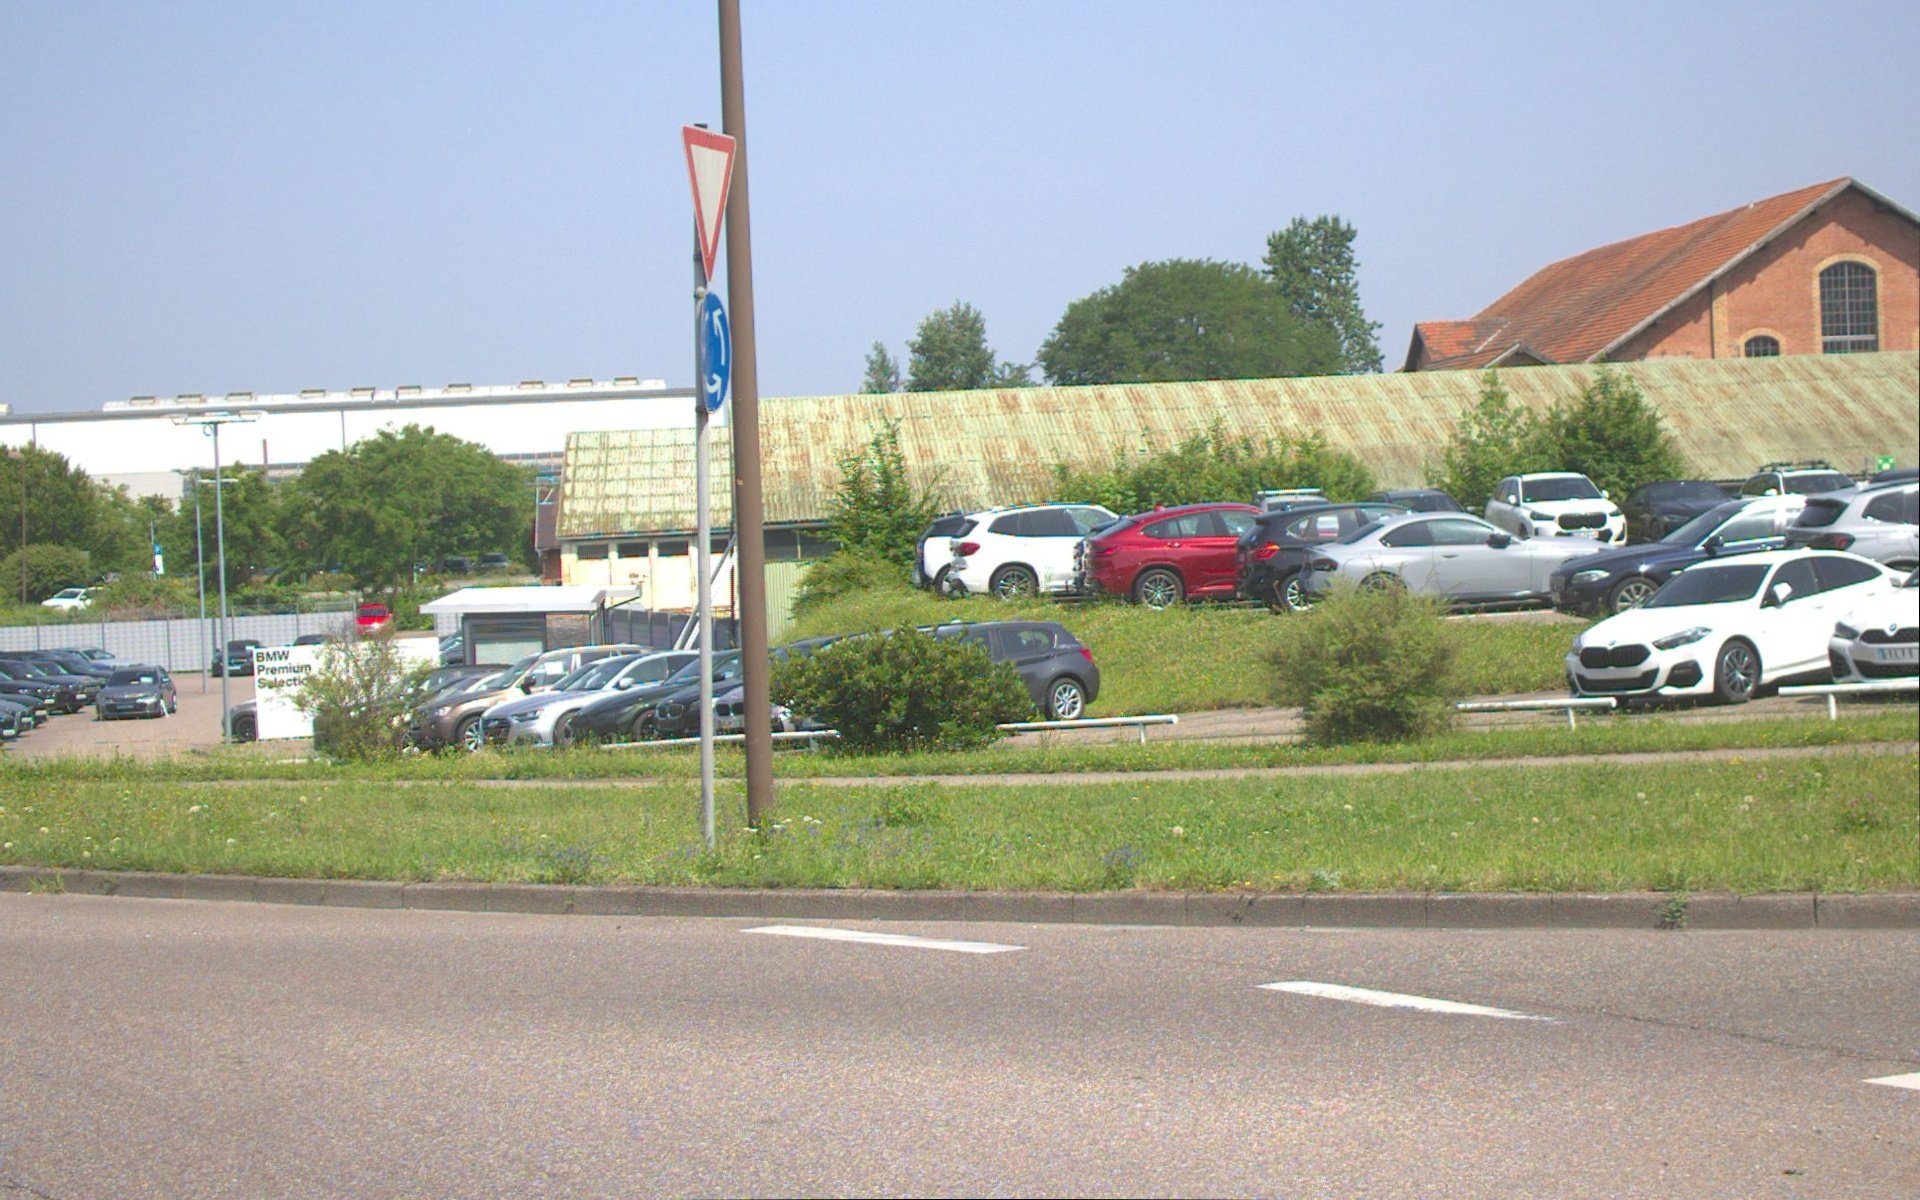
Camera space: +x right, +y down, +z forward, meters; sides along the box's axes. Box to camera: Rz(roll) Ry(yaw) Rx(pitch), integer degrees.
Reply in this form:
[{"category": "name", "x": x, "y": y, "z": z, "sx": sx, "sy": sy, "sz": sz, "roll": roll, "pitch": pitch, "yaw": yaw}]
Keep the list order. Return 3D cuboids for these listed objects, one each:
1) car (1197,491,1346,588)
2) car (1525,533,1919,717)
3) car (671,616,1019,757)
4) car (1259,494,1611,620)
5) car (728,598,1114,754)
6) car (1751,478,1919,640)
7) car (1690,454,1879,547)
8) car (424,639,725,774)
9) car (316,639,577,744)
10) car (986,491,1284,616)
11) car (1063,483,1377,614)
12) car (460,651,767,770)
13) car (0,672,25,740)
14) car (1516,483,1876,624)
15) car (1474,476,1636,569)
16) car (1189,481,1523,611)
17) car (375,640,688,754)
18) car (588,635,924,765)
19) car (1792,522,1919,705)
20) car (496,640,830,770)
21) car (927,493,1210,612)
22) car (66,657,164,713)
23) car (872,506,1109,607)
[{"category": "car", "x": 5.563, "y": -1.083, "z": 61.924, "sx": 1.916, "sy": 1.590, "sz": 4.305, "roll": -3, "pitch": 1, "yaw": -4}, {"category": "car", "x": 8.040, "y": 0.232, "z": 35.338, "sx": 4.565, "sy": 1.565, "sz": 1.767, "roll": -4, "pitch": 1, "yaw": -40}, {"category": "car", "x": -1.547, "y": 1.170, "z": 46.836, "sx": 4.249, "sy": 1.477, "sz": 1.922, "roll": -5, "pitch": -1, "yaw": -34}, {"category": "car", "x": 6.581, "y": -0.614, "z": 47.890, "sx": 4.452, "sy": 1.494, "sz": 1.950, "roll": -3, "pitch": 2, "yaw": -6}, {"category": "car", "x": -0.478, "y": 0.967, "z": 44.465, "sx": 4.559, "sy": 1.560, "sz": 1.922, "roll": -5, "pitch": -1, "yaw": -34}, {"category": "car", "x": 11.619, "y": -0.575, "z": 40.425, "sx": 3.995, "sy": 1.744, "sz": 1.950, "roll": -4, "pitch": 2, "yaw": -6}, {"category": "car", "x": 15.433, "y": -1.845, "z": 64.590, "sx": 2.187, "sy": 1.590, "sz": 4.305, "roll": -3, "pitch": 1, "yaw": -4}, {"category": "car", "x": -6.170, "y": 1.704, "z": 55.029, "sx": 4.248, "sy": 1.742, "sz": 2.000, "roll": -5, "pitch": -1, "yaw": -25}, {"category": "car", "x": -8.991, "y": 1.603, "z": 60.246, "sx": 3.987, "sy": 1.547, "sz": 2.000, "roll": -3, "pitch": -1, "yaw": -29}, {"category": "car", "x": 2.775, "y": -0.751, "z": 54.996, "sx": 4.452, "sy": 1.741, "sz": 1.839, "roll": -3, "pitch": 1, "yaw": -6}, {"category": "car", "x": 3.957, "y": -0.795, "z": 52.855, "sx": 4.452, "sy": 1.741, "sz": 1.950, "roll": -3, "pitch": 1, "yaw": -6}, {"category": "car", "x": -5.344, "y": 1.700, "z": 53.054, "sx": 4.248, "sy": 1.460, "sz": 1.874, "roll": -4, "pitch": -1, "yaw": -25}, {"category": "car", "x": -23.770, "y": 2.472, "z": 78.820, "sx": 4.161, "sy": 1.518, "sz": 1.689, "roll": -1, "pitch": 0, "yaw": 14}, {"category": "car", "x": 9.117, "y": -0.590, "z": 42.807, "sx": 3.995, "sy": 1.521, "sz": 1.950, "roll": -3, "pitch": 1, "yaw": 0}, {"category": "car", "x": 11.004, "y": -1.429, "z": 63.867, "sx": 1.916, "sy": 1.590, "sz": 4.305, "roll": -3, "pitch": 1, "yaw": -4}, {"category": "car", "x": 5.744, "y": -0.790, "z": 50.213, "sx": 4.452, "sy": 1.629, "sz": 1.950, "roll": -3, "pitch": 1, "yaw": -6}, {"category": "car", "x": -7.237, "y": 1.638, "z": 58.105, "sx": 4.766, "sy": 1.503, "sz": 2.000, "roll": -4, "pitch": -1, "yaw": -25}, {"category": "car", "x": -2.891, "y": 1.414, "z": 48.748, "sx": 4.248, "sy": 1.408, "sz": 1.923, "roll": -5, "pitch": -1, "yaw": -25}, {"category": "car", "x": 10.155, "y": -0.008, "z": 33.514, "sx": 1.767, "sy": 1.565, "sz": 4.655, "roll": -2, "pitch": 4, "yaw": 44}, {"category": "car", "x": -4.357, "y": 1.544, "z": 50.682, "sx": 4.422, "sy": 1.460, "sz": 1.922, "roll": -5, "pitch": -1, "yaw": -33}, {"category": "car", "x": 1.790, "y": -0.796, "z": 57.633, "sx": 4.452, "sy": 1.741, "sz": 1.839, "roll": -3, "pitch": 1, "yaw": -6}, {"category": "car", "x": -24.380, "y": 2.445, "z": 99.354, "sx": 2.135, "sy": 1.452, "sz": 4.533, "roll": -1, "pitch": 0, "yaw": -6}, {"category": "car", "x": 0.511, "y": -0.764, "z": 59.864, "sx": 3.874, "sy": 1.527, "sz": 1.769, "roll": -3, "pitch": 1, "yaw": -6}]
